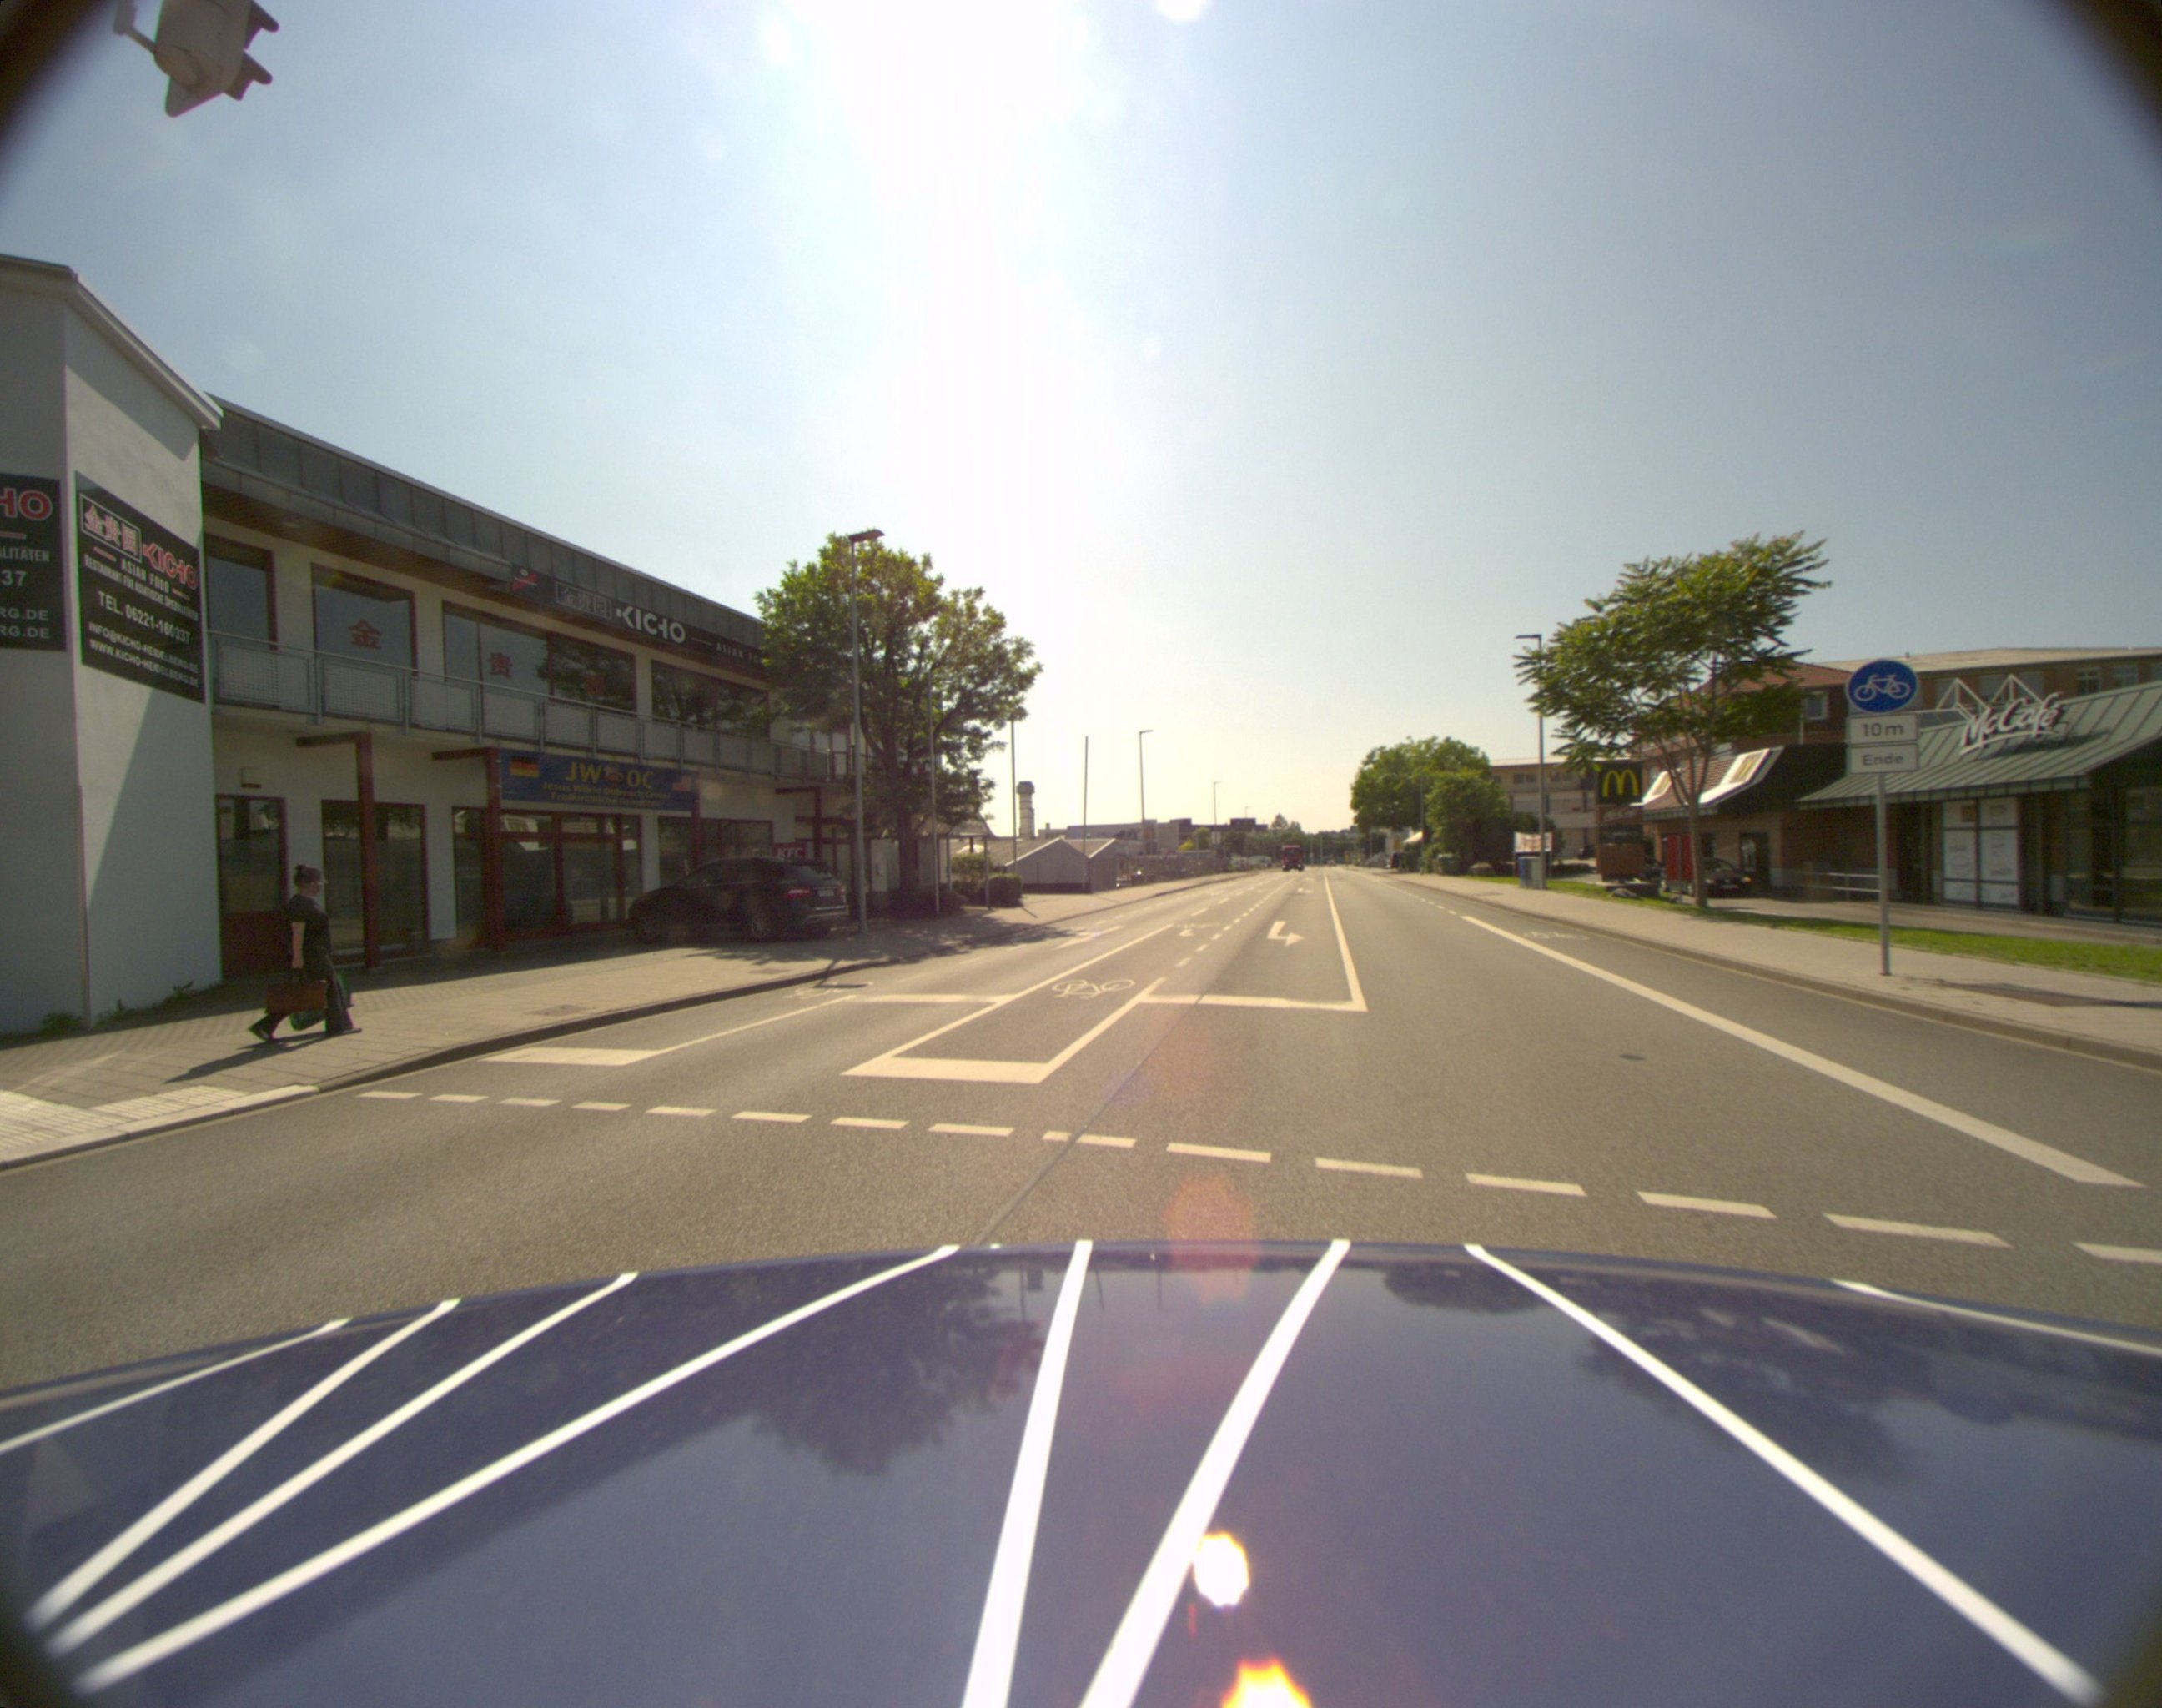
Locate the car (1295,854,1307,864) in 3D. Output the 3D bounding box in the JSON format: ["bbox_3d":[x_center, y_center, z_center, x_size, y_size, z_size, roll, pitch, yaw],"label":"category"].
[{"bbox_3d":[39.493,0.847,136.431,1.832,1.652,4.004,-1,0,14],"label":"car"}]

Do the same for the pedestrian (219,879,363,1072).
[{"bbox_3d":[-7.384,1.075,7.152,0.843,1.636,0.732,-2,1,-41],"label":"pedestrian"}]

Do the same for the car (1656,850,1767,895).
[{"bbox_3d":[23.992,0.661,29.108,1.862,1.543,4.194,-1,0,19],"label":"car"}]

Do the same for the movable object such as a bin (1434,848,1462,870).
[{"bbox_3d":[24.236,0.335,50.212,1.466,1.403,1.457,-1,0,17],"label":"movable object such as a bin"}]

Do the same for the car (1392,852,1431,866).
[{"bbox_3d":[36.795,0.549,84.662,3.899,1.390,1.654,-1,0,22],"label":"car"}]

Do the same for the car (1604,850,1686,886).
[{"bbox_3d":[26.186,0.606,35.435,1.862,1.543,4.194,-1,0,19],"label":"car"}]

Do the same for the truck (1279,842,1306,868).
[{"bbox_3d":[29.147,0.067,104.489,3.308,3.366,9.179,-2,0,17],"label":"truck"}]

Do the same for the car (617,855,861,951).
[{"bbox_3d":[-7.265,1.004,16.200,4.649,1.845,1.811,-1,0,17],"label":"car"}]
